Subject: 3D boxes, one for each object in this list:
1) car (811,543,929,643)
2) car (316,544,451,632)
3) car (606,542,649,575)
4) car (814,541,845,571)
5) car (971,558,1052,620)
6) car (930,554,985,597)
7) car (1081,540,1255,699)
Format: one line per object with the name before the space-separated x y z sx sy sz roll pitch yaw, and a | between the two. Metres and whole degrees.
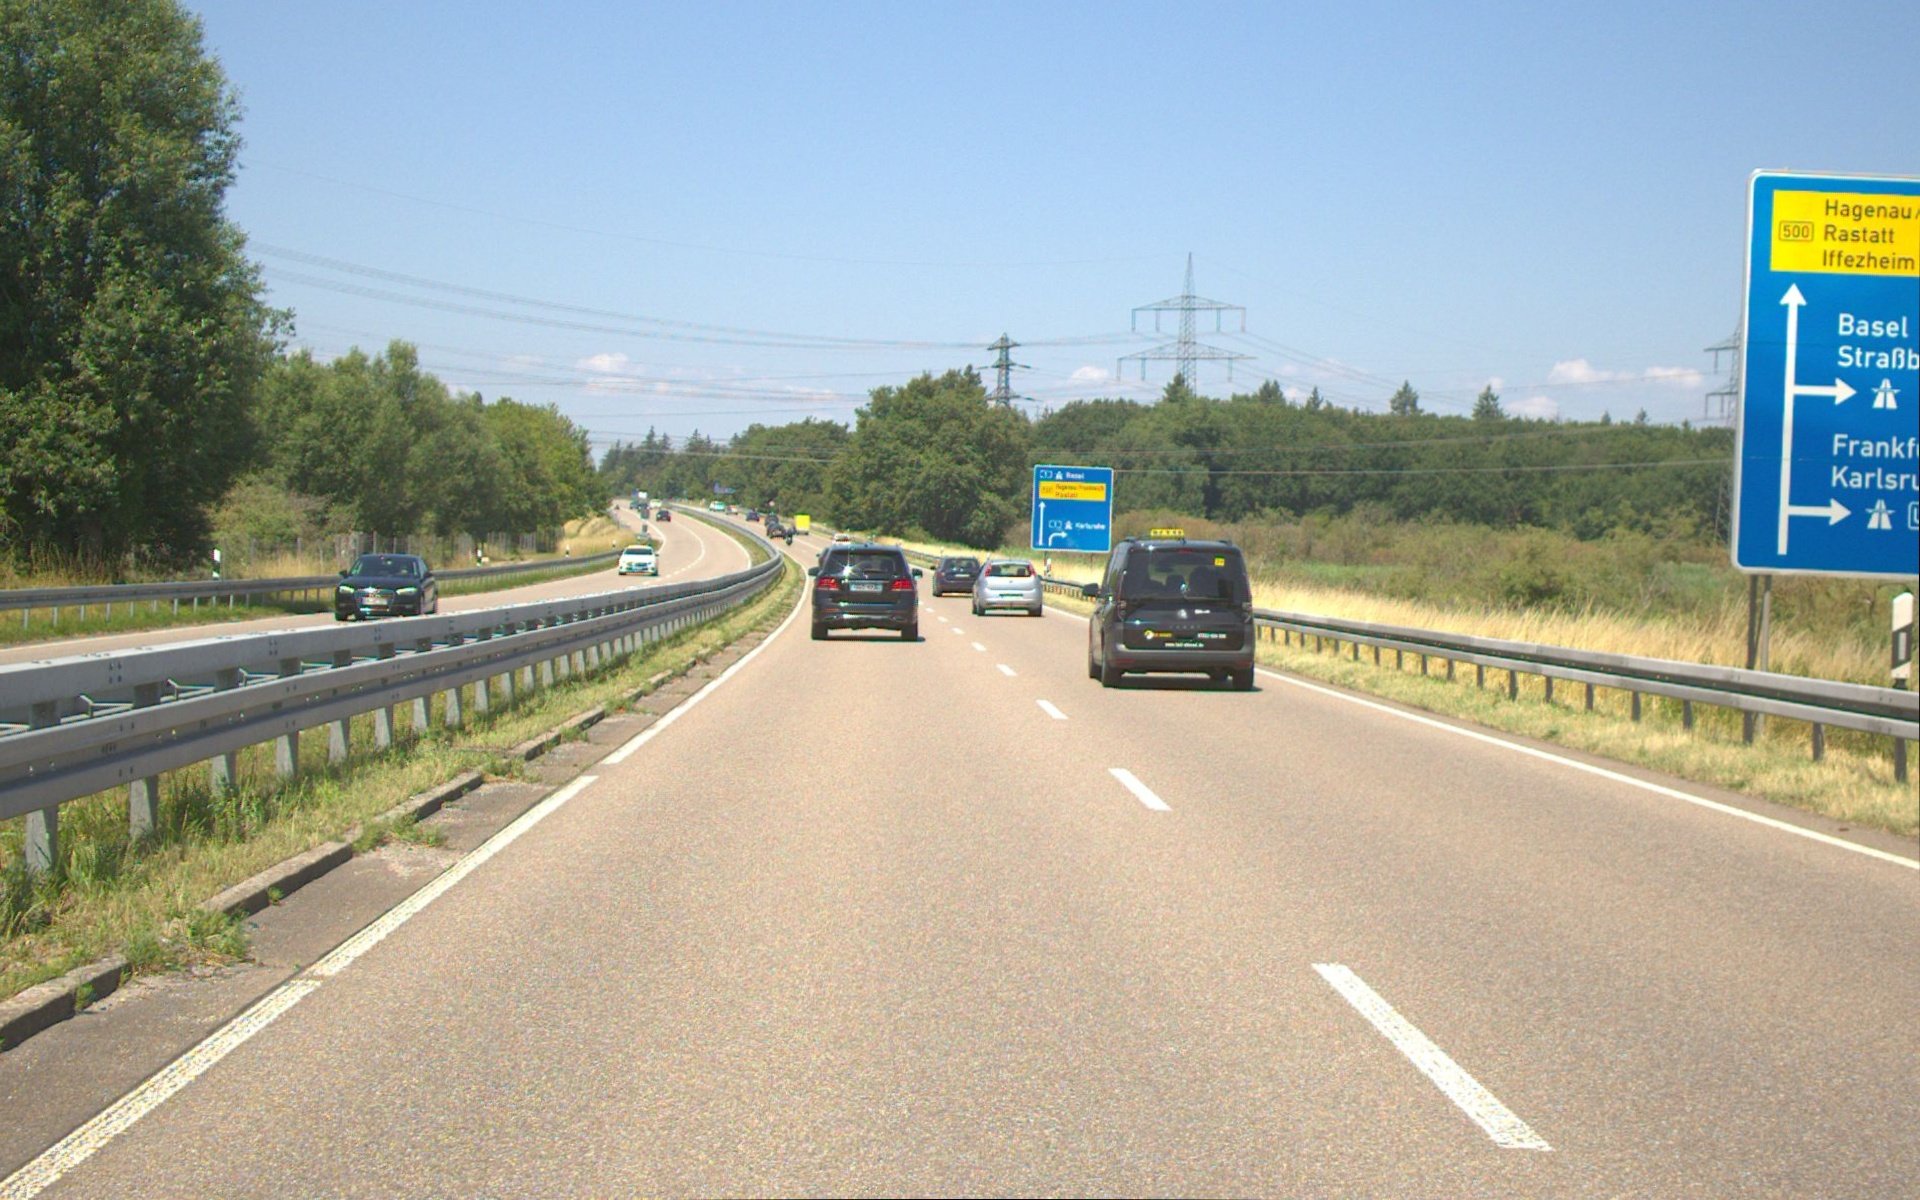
car | -1.681 -0.145 62.942 1.993 1.649 4.000 4 1 -2
car | -12.131 -0.280 72.586 1.993 1.631 4.874 4 1 -1
car | -16.277 -2.031 168.543 1.827 1.492 4.103 3 1 -2
car | -6.855 -2.315 180.875 1.514 1.470 3.066 4 1 -2
car | 1.310 -0.304 89.595 1.779 1.474 4.316 4 1 -2
car | -0.119 -0.870 120.766 1.819 1.409 4.000 1 1 -1
car | 2.512 0.194 42.422 1.780 1.810 4.213 2 1 -1
